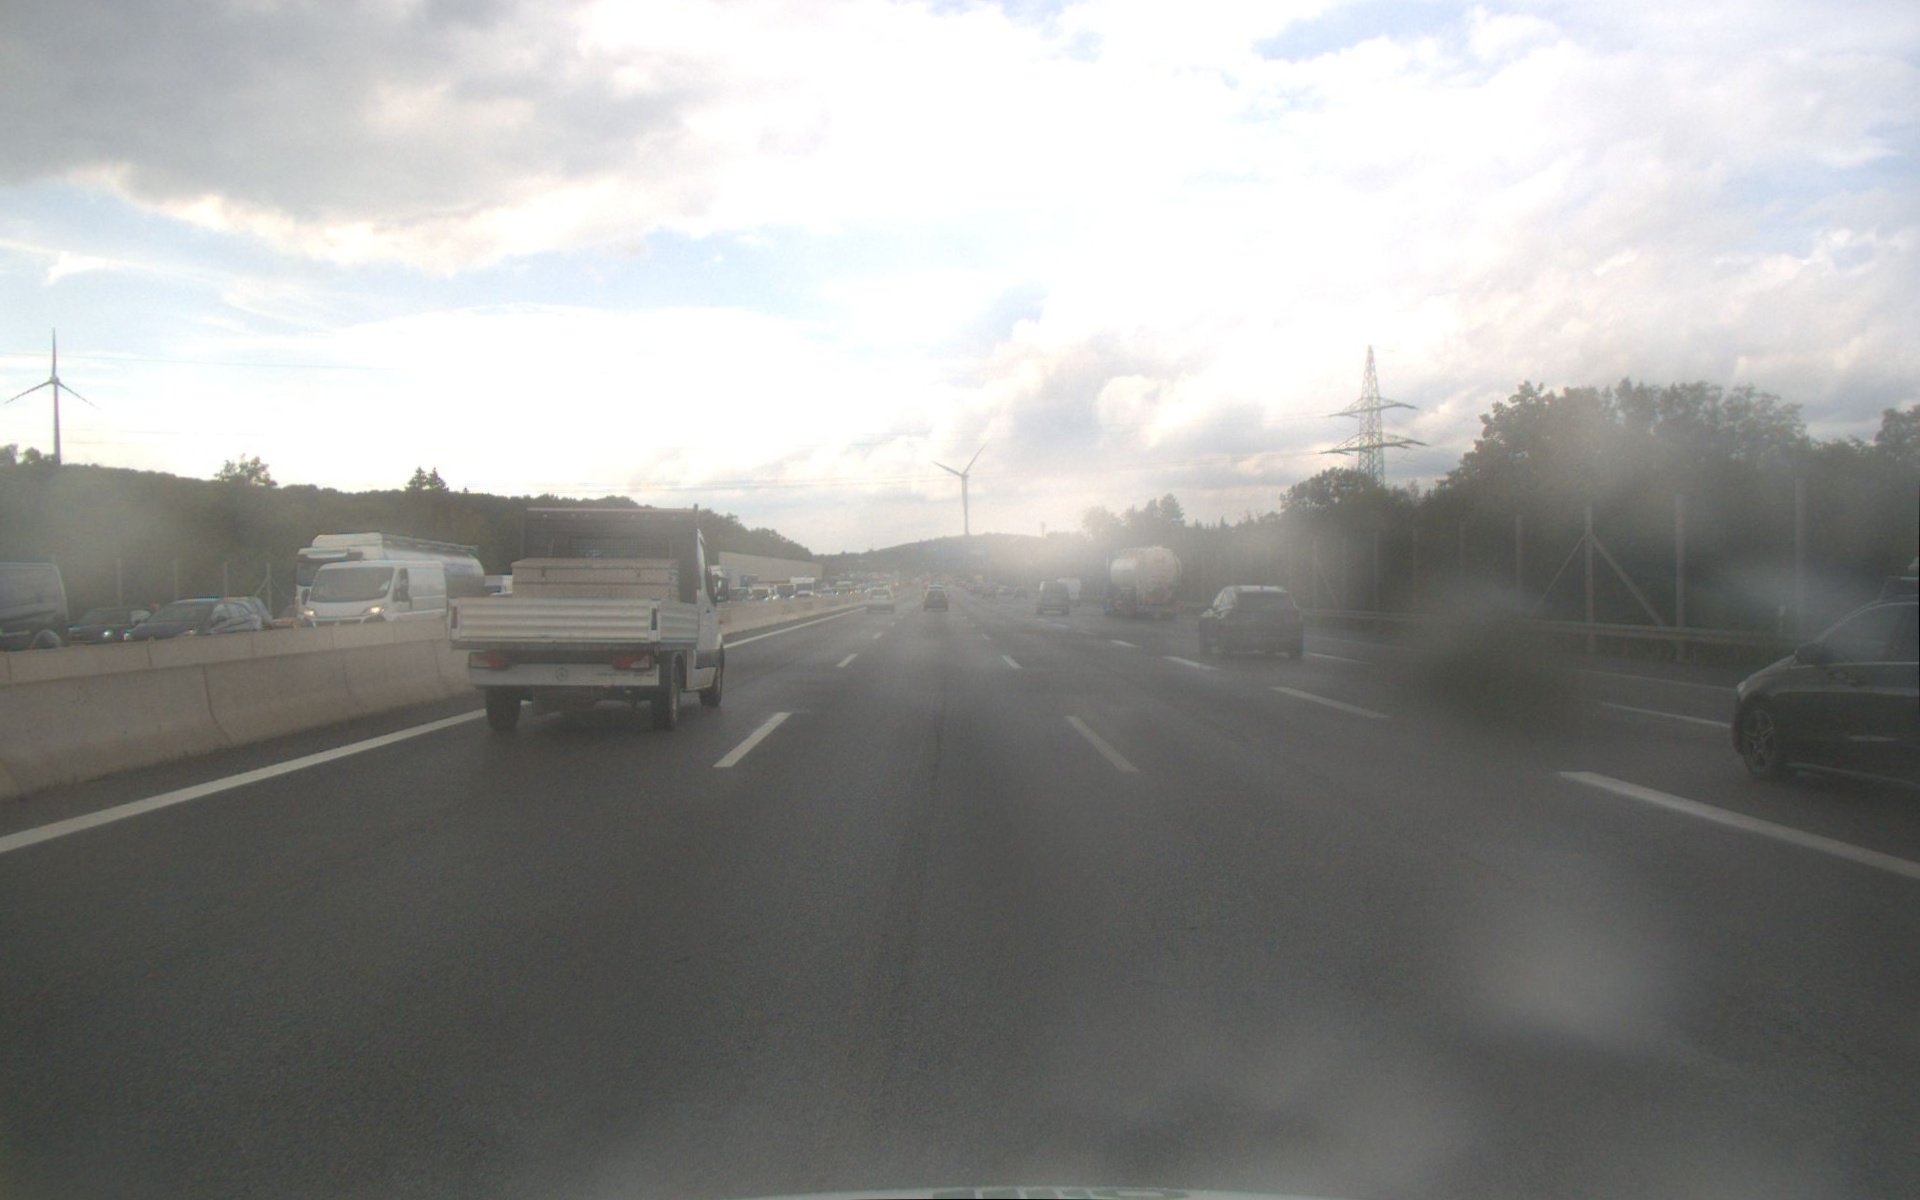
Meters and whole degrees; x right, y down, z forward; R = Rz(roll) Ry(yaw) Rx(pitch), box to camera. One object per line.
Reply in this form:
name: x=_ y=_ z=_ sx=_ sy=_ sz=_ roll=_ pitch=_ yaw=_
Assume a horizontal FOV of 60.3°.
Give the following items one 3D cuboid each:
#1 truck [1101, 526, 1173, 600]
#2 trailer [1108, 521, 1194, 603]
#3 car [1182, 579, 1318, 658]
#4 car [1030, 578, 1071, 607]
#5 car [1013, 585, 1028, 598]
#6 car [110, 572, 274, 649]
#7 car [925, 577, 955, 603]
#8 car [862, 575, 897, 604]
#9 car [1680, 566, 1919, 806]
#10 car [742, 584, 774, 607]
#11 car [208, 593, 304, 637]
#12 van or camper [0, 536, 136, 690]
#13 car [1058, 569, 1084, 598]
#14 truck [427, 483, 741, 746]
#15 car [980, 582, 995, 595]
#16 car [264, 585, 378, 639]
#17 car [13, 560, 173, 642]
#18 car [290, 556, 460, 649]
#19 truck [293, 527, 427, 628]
truck: x=10.450 y=-2.181 z=98.522 sx=3.265 sy=4.151 sz=8.271 roll=1 pitch=1 yaw=-1
trailer: x=10.545 y=-2.091 z=92.608 sx=3.265 sy=4.248 sz=11.837 roll=1 pitch=1 yaw=-1
car: x=6.706 y=0.376 z=38.793 sx=2.005 sy=1.729 sz=5.003 roll=0 pitch=1 yaw=-4
car: x=5.594 y=-0.462 z=102.248 sx=2.056 sy=1.729 sz=3.997 roll=0 pitch=1 yaw=-4
car: x=8.727 y=-1.240 z=238.956 sx=1.953 sy=1.780 sz=4.496 roll=0 pitch=1 yaw=-1
car: x=-17.917 y=0.211 z=38.824 sx=1.825 sy=1.690 sz=4.425 roll=0 pitch=1 yaw=-1
car: x=-1.361 y=-0.692 z=113.724 sx=2.003 sy=1.729 sz=4.000 roll=0 pitch=1 yaw=0
car: x=-4.930 y=-0.678 z=101.916 sx=2.003 sy=1.729 sz=4.000 roll=0 pitch=1 yaw=-1
car: x=7.534 y=0.567 z=12.280 sx=2.062 sy=1.633 sz=5.064 roll=0 pitch=1 yaw=-2
car: x=-15.117 y=-0.359 z=123.978 sx=1.856 sy=1.652 sz=4.844 roll=1 pitch=1 yaw=-1
car: x=-26.525 y=0.543 z=62.424 sx=1.953 sy=1.557 sz=3.999 roll=0 pitch=0 yaw=-1
van or camper: x=-13.734 y=0.166 z=22.501 sx=1.953 sy=2.049 sz=6.345 roll=0 pitch=1 yaw=-1
car: x=9.862 y=-1.489 z=147.646 sx=2.003 sy=2.541 sz=4.000 roll=0 pitch=1 yaw=-1
truck: x=-4.029 y=0.067 z=19.267 sx=2.306 sy=2.450 sz=7.354 roll=1 pitch=1 yaw=-3
car: x=3.818 y=-1.617 z=230.664 sx=2.003 sy=1.729 sz=4.000 roll=0 pitch=1 yaw=0
car: x=-19.041 y=0.321 z=49.469 sx=1.763 sy=1.529 sz=4.351 roll=0 pitch=0 yaw=-1
car: x=-22.151 y=0.012 z=42.439 sx=2.052 sy=2.003 sz=3.999 roll=0 pitch=1 yaw=-1
car: x=-13.539 y=0.007 z=38.703 sx=2.052 sy=2.003 sz=5.630 roll=0 pitch=1 yaw=-1
truck: x=-22.450 y=-0.855 z=62.284 sx=2.673 sy=3.575 sz=6.799 roll=0 pitch=1 yaw=-1
